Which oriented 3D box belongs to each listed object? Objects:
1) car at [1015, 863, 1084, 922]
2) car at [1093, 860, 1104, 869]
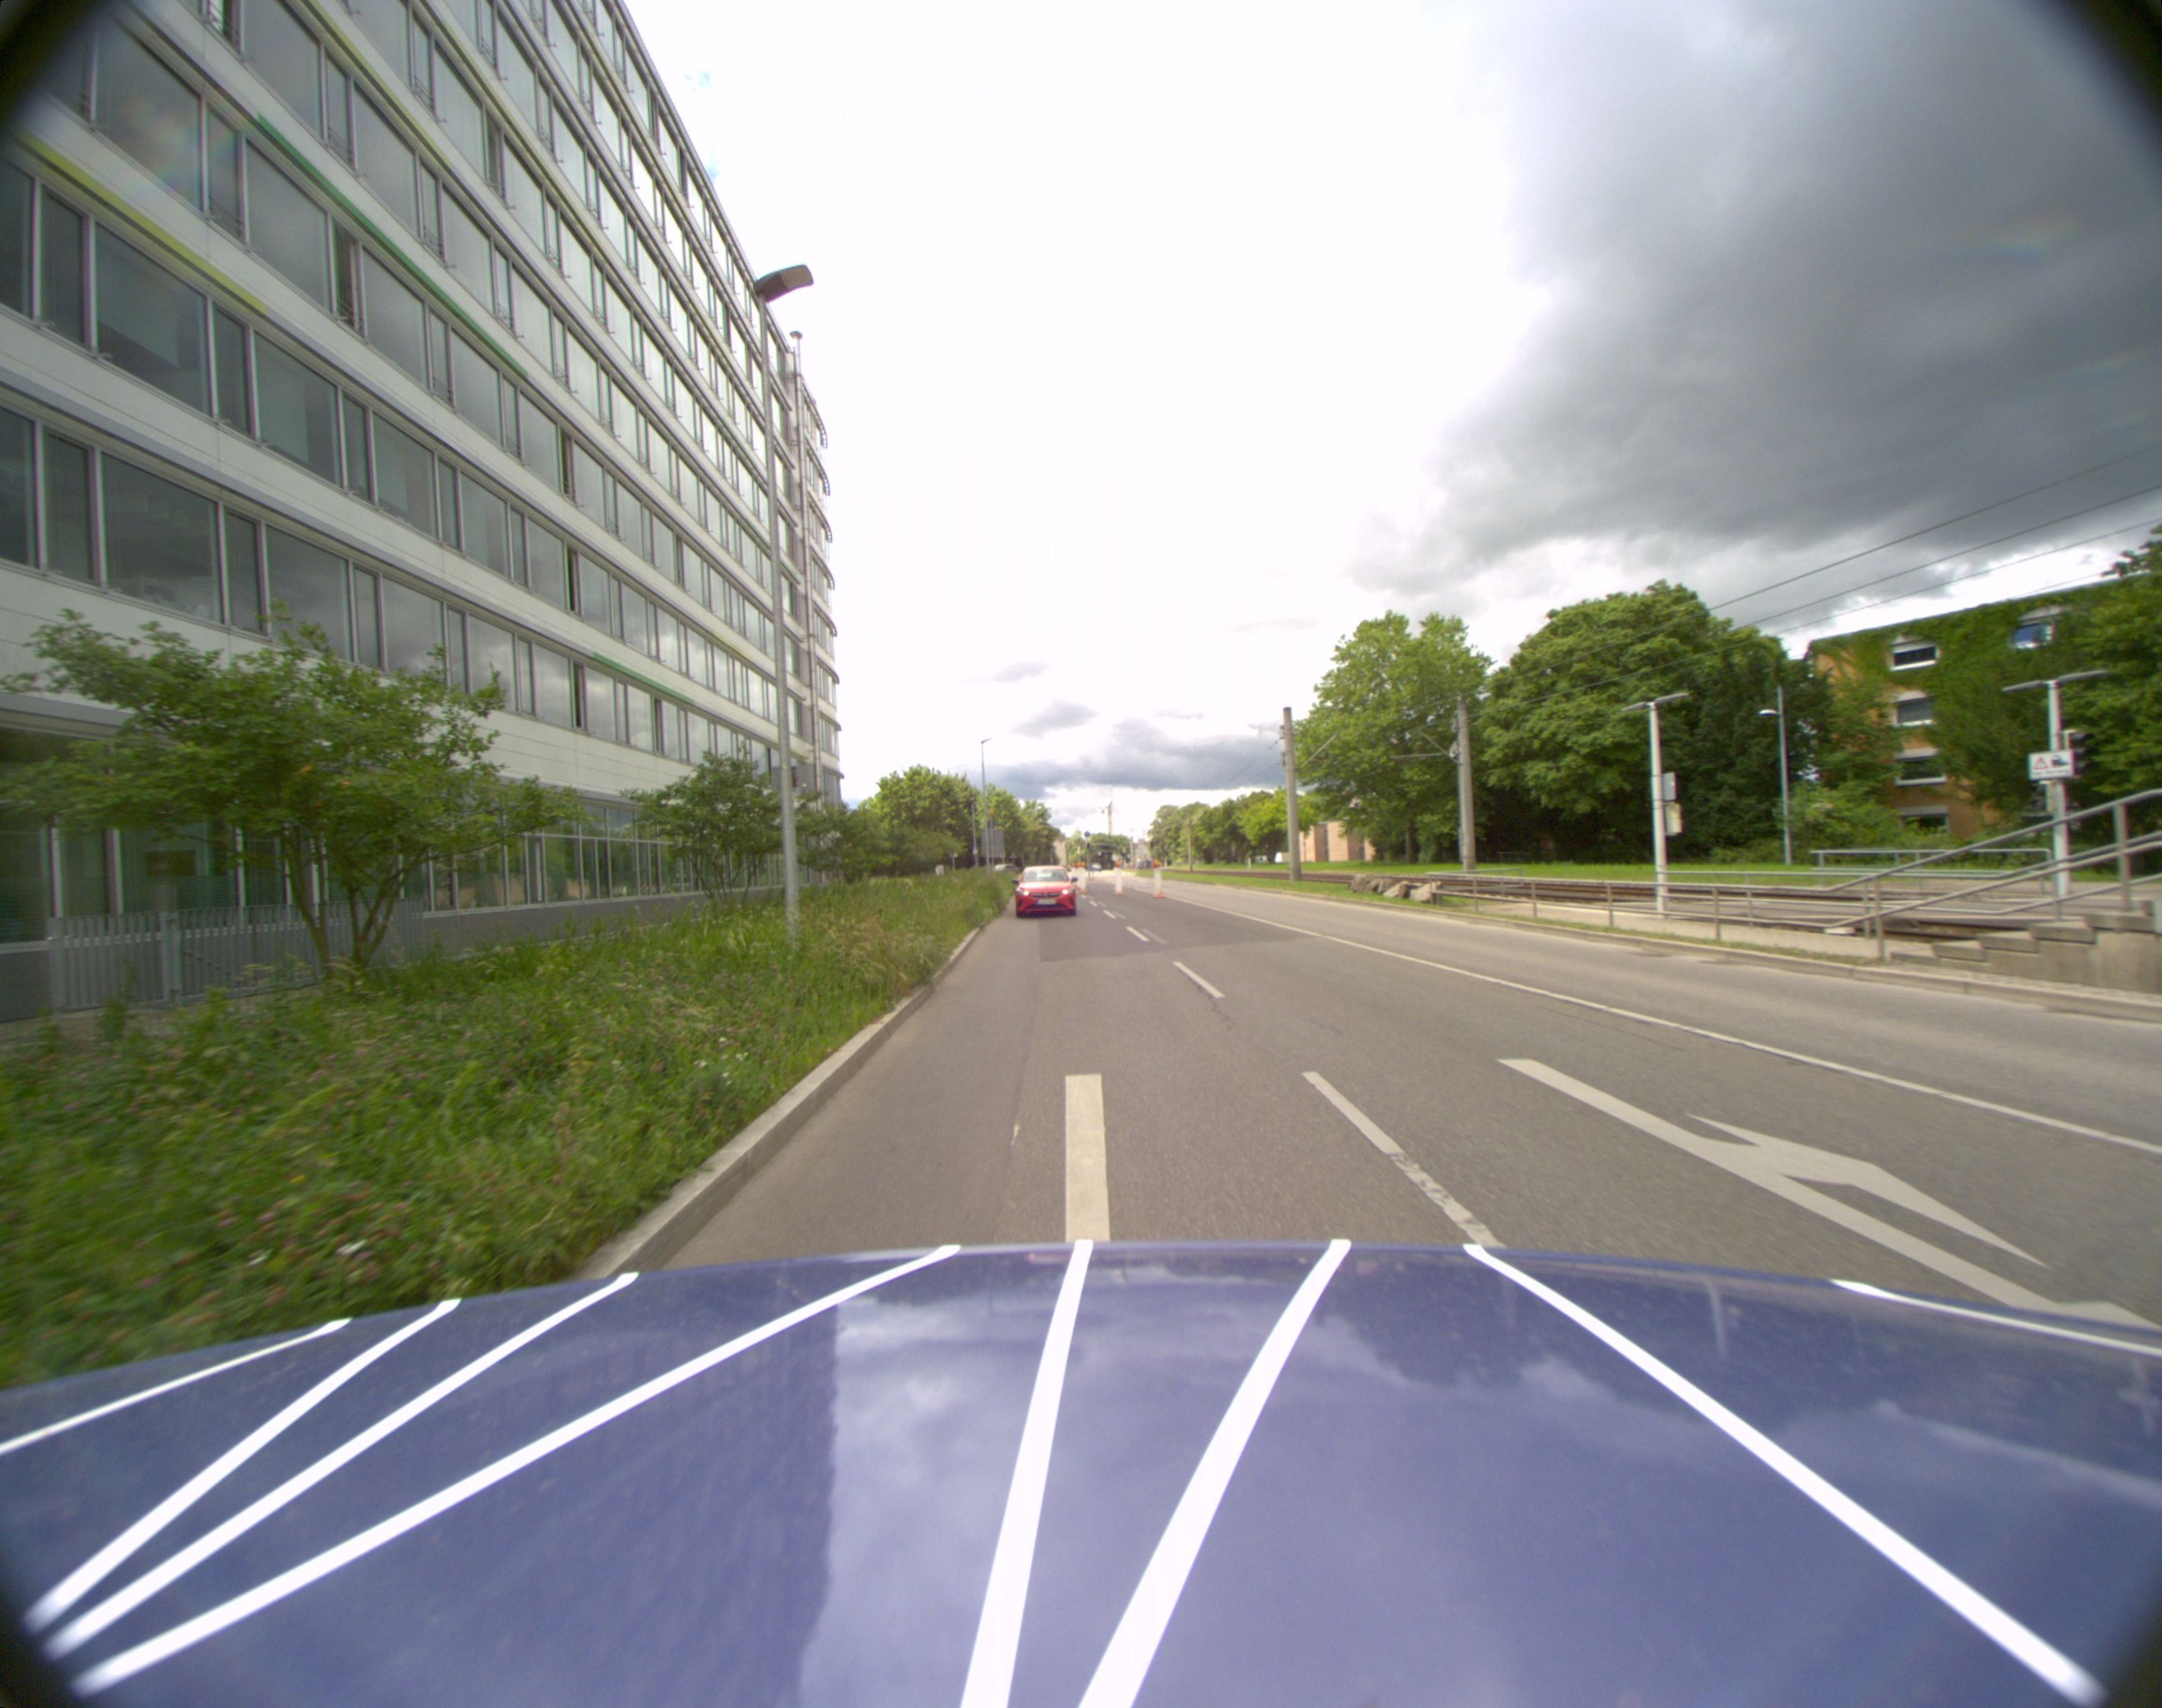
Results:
[{"bbox_3d":[-0.890,1.076,23.184,1.790,1.453,4.852,-3,0,-1],"label":"car"},{"bbox_3d":[3.256,2.010,142.203,1.865,1.601,4.607,-2,0,-2],"label":"car"}]
